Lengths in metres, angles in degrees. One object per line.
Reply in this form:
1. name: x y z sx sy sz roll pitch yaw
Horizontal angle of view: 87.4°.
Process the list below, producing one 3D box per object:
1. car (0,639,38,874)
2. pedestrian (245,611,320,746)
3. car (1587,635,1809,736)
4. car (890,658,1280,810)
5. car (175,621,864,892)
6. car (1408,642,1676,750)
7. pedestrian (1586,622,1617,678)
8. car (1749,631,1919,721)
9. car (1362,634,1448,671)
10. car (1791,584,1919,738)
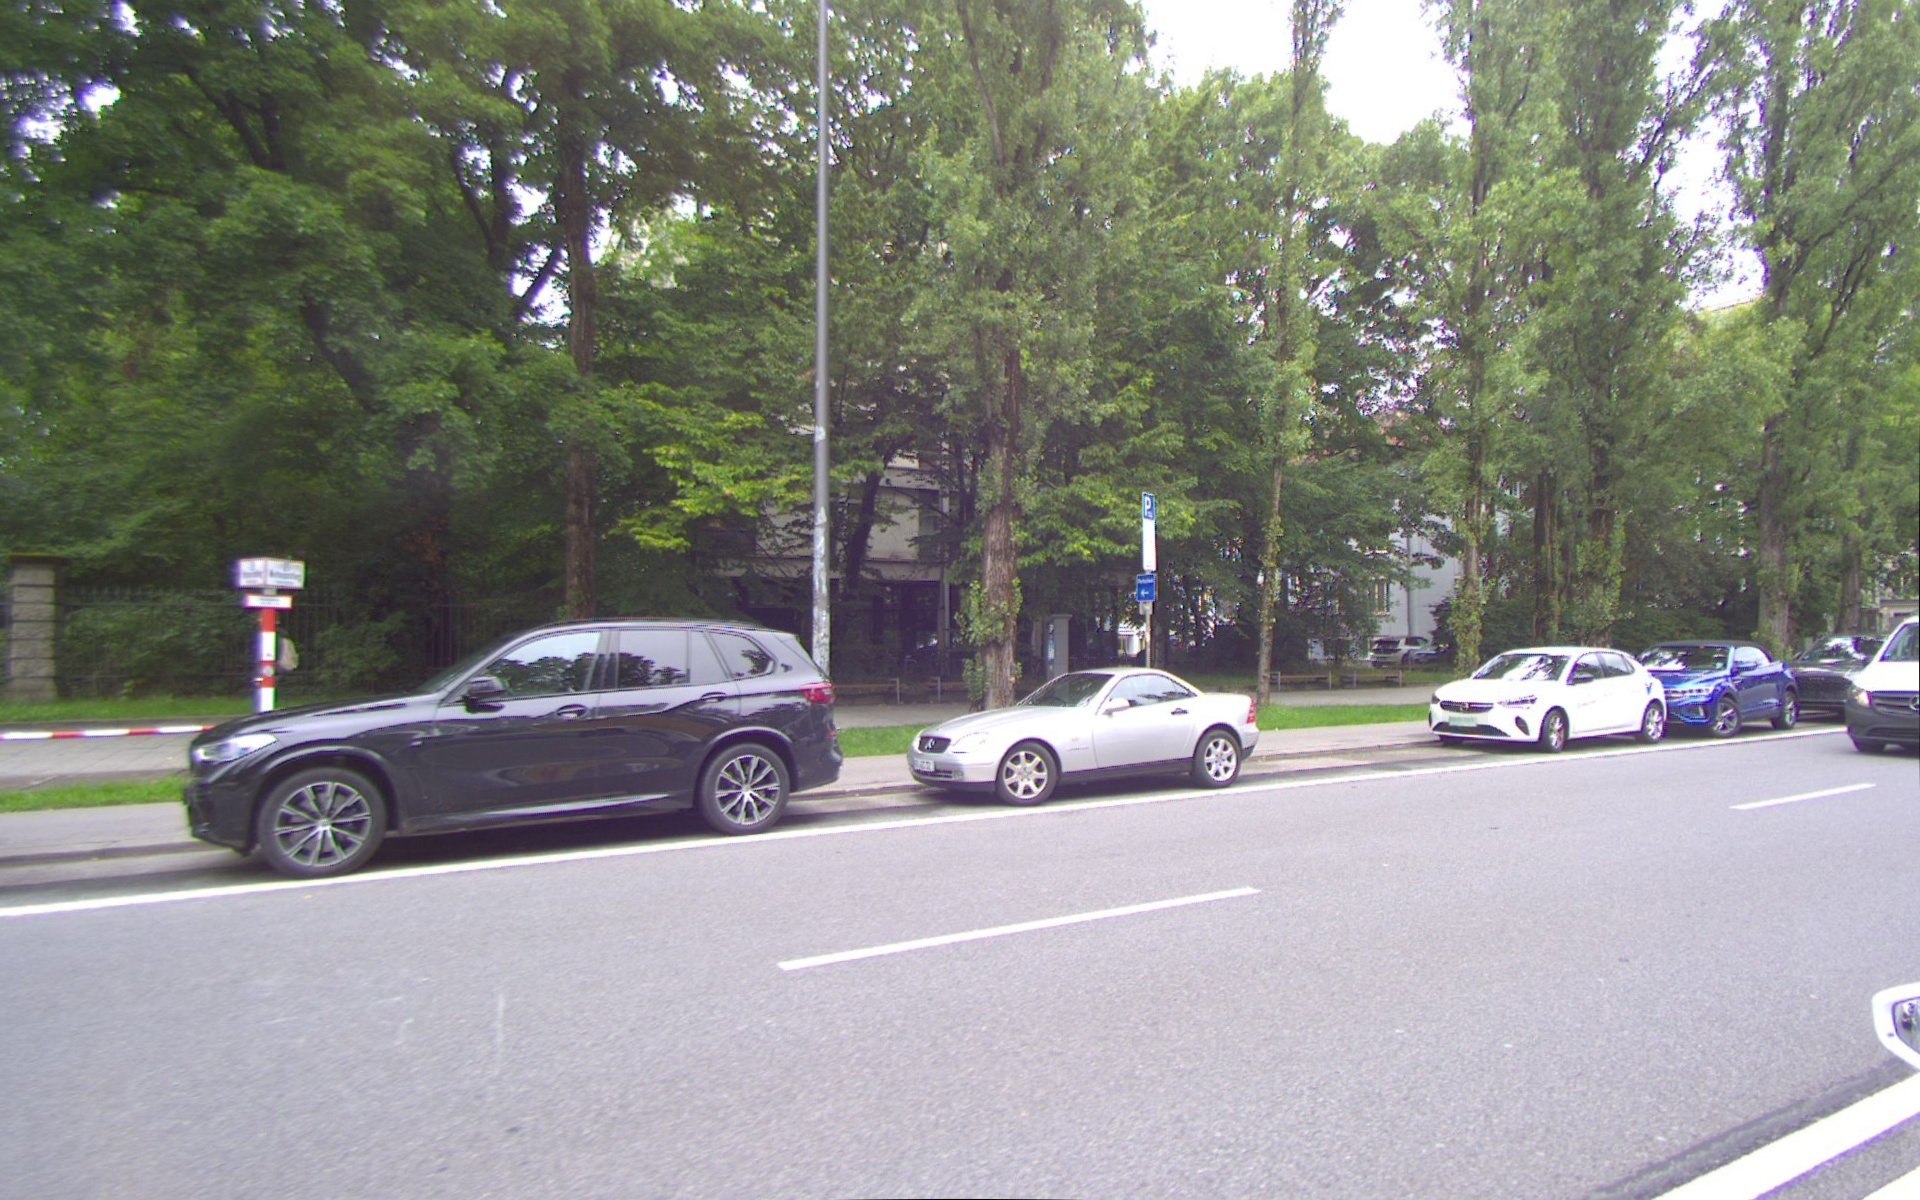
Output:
1. car: -8.415 1.037 5.635 4.403 1.609 1.780 1 -4 -27
2. pedestrian: -9.529 1.087 14.154 0.765 1.839 0.637 1 -1 -28
3. car: 12.667 1.391 17.191 4.074 1.538 1.733 1 -4 -33
4. car: 1.379 1.319 10.807 3.977 1.321 1.575 1 -3 -27
5. car: -3.303 1.058 8.246 4.660 1.680 1.873 1 -4 -29
6. car: 8.776 1.364 15.098 3.955 1.431 1.678 1 -3 -29
7. pedestrian: 20.397 1.590 31.947 0.632 1.762 0.597 1 -2 -27
8. car: 17.309 1.420 19.306 4.285 1.568 1.784 1 -5 -29
9. car: 21.838 2.531 49.246 4.224 1.706 1.980 1 -2 -36
10. car: 14.374 0.814 14.038 5.622 1.916 2.175 1 -3 -27
